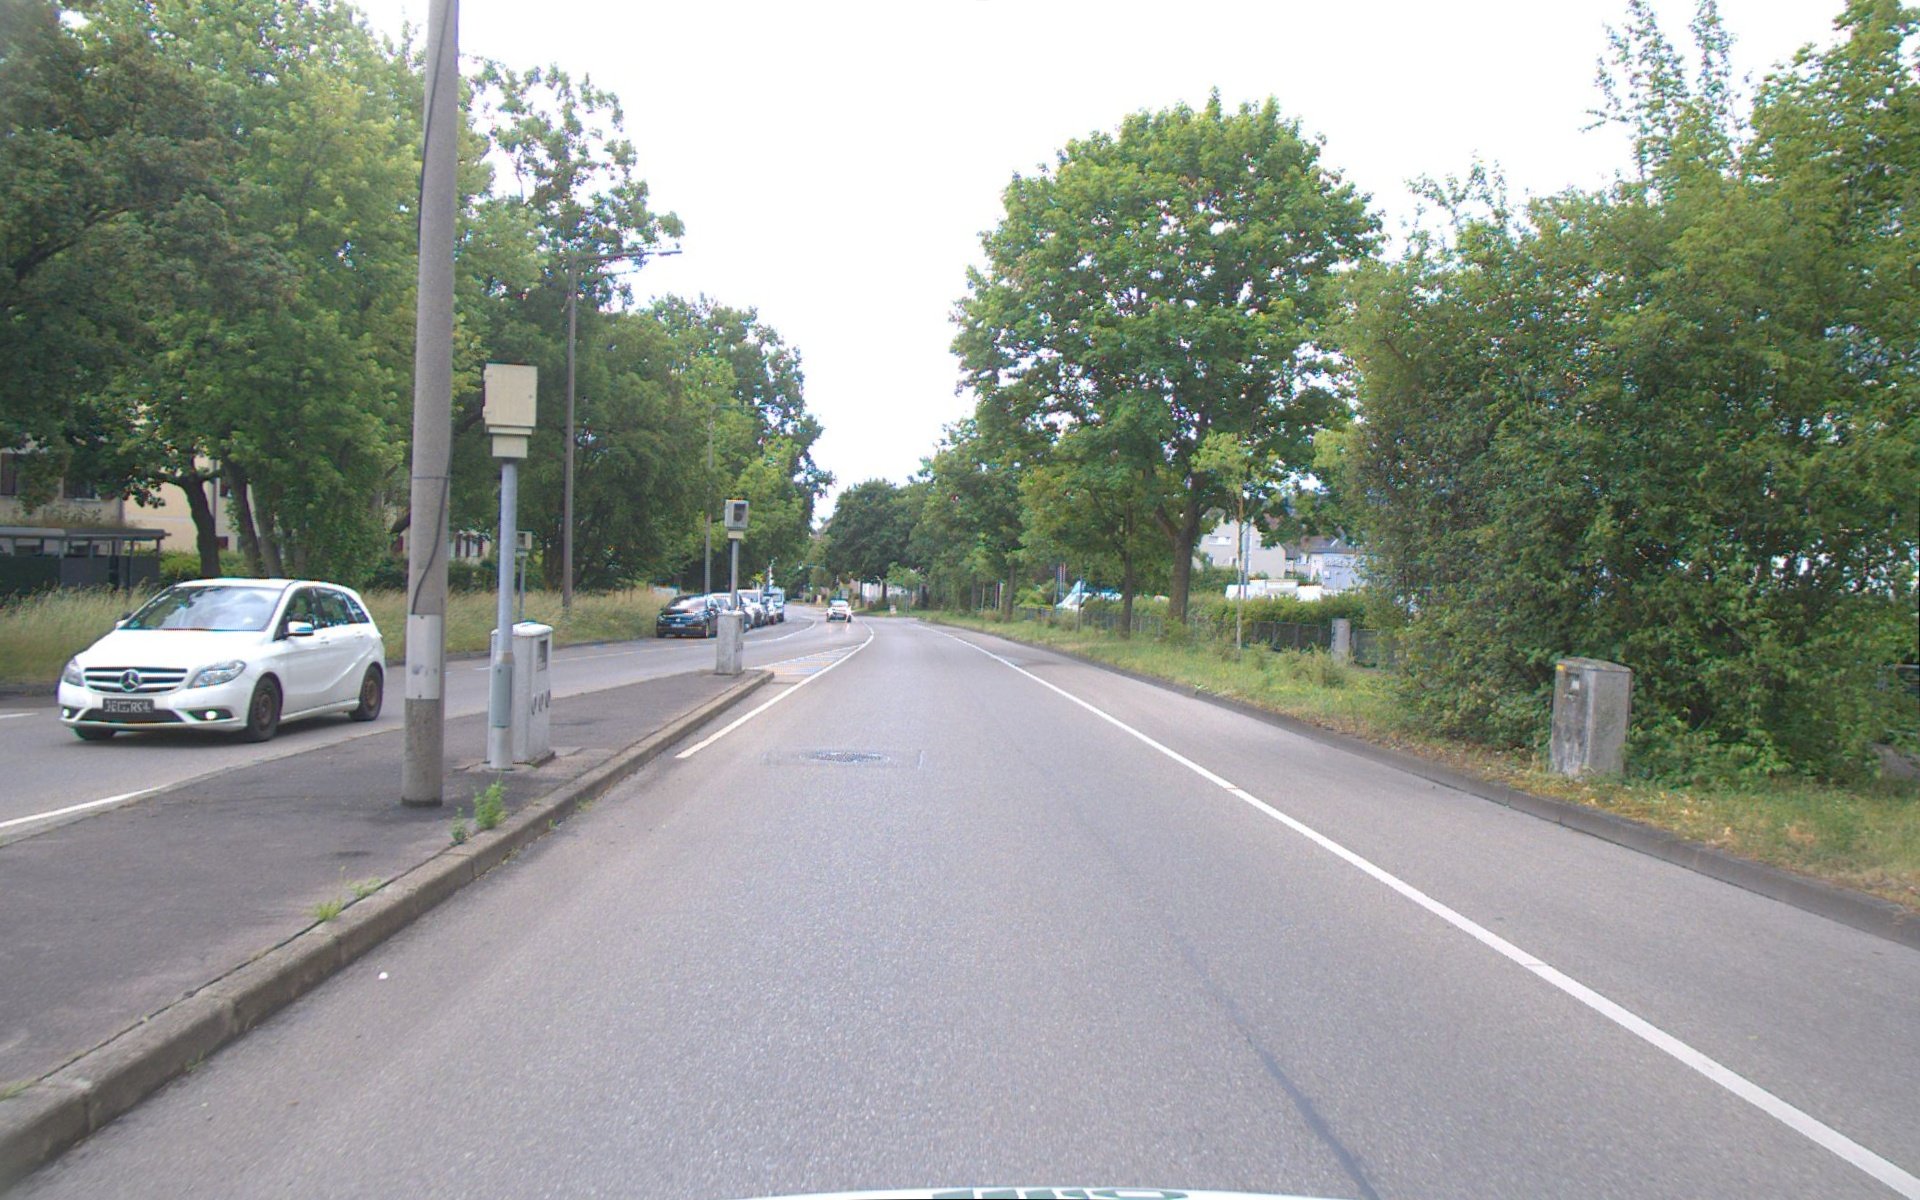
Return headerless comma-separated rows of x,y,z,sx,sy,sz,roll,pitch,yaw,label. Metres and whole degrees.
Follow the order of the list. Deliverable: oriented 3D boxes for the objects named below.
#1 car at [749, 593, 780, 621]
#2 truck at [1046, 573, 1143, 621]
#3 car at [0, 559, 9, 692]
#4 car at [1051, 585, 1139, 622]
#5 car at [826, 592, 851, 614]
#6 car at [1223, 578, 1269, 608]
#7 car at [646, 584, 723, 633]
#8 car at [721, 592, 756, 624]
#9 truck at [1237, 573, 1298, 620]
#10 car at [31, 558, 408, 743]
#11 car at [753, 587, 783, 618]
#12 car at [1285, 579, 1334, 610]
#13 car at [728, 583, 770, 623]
-11.494,0.397,97.436,1.640,1.592,4.277,1,0,-5,car
10.247,-0.243,125.909,7.082,3.538,2.595,1,0,-29,truck
-13.364,0.298,19.104,1.835,1.696,4.393,2,0,6,car
9.650,0.273,117.959,5.940,2.408,2.341,2,-1,-28,car
-8.425,0.229,114.784,1.604,1.493,3.998,0,0,-2,car
27.065,-0.701,156.447,2.217,2.723,5.432,2,2,35,car
-9.593,0.301,57.907,1.837,1.598,4.650,1,0,0,car
-10.736,0.381,80.322,1.604,1.458,3.944,2,0,-7,car
24.259,-0.238,130.966,2.795,3.519,9.539,2,0,-1,truck
-7.383,0.482,17.043,1.837,1.598,4.339,2,-1,1,car
-12.981,0.166,112.130,1.830,1.998,5.121,1,0,-5,car
32.734,-0.570,154.810,2.221,2.723,5.421,2,2,40,car
-11.004,0.149,86.429,1.733,1.964,5.152,2,0,-3,car
